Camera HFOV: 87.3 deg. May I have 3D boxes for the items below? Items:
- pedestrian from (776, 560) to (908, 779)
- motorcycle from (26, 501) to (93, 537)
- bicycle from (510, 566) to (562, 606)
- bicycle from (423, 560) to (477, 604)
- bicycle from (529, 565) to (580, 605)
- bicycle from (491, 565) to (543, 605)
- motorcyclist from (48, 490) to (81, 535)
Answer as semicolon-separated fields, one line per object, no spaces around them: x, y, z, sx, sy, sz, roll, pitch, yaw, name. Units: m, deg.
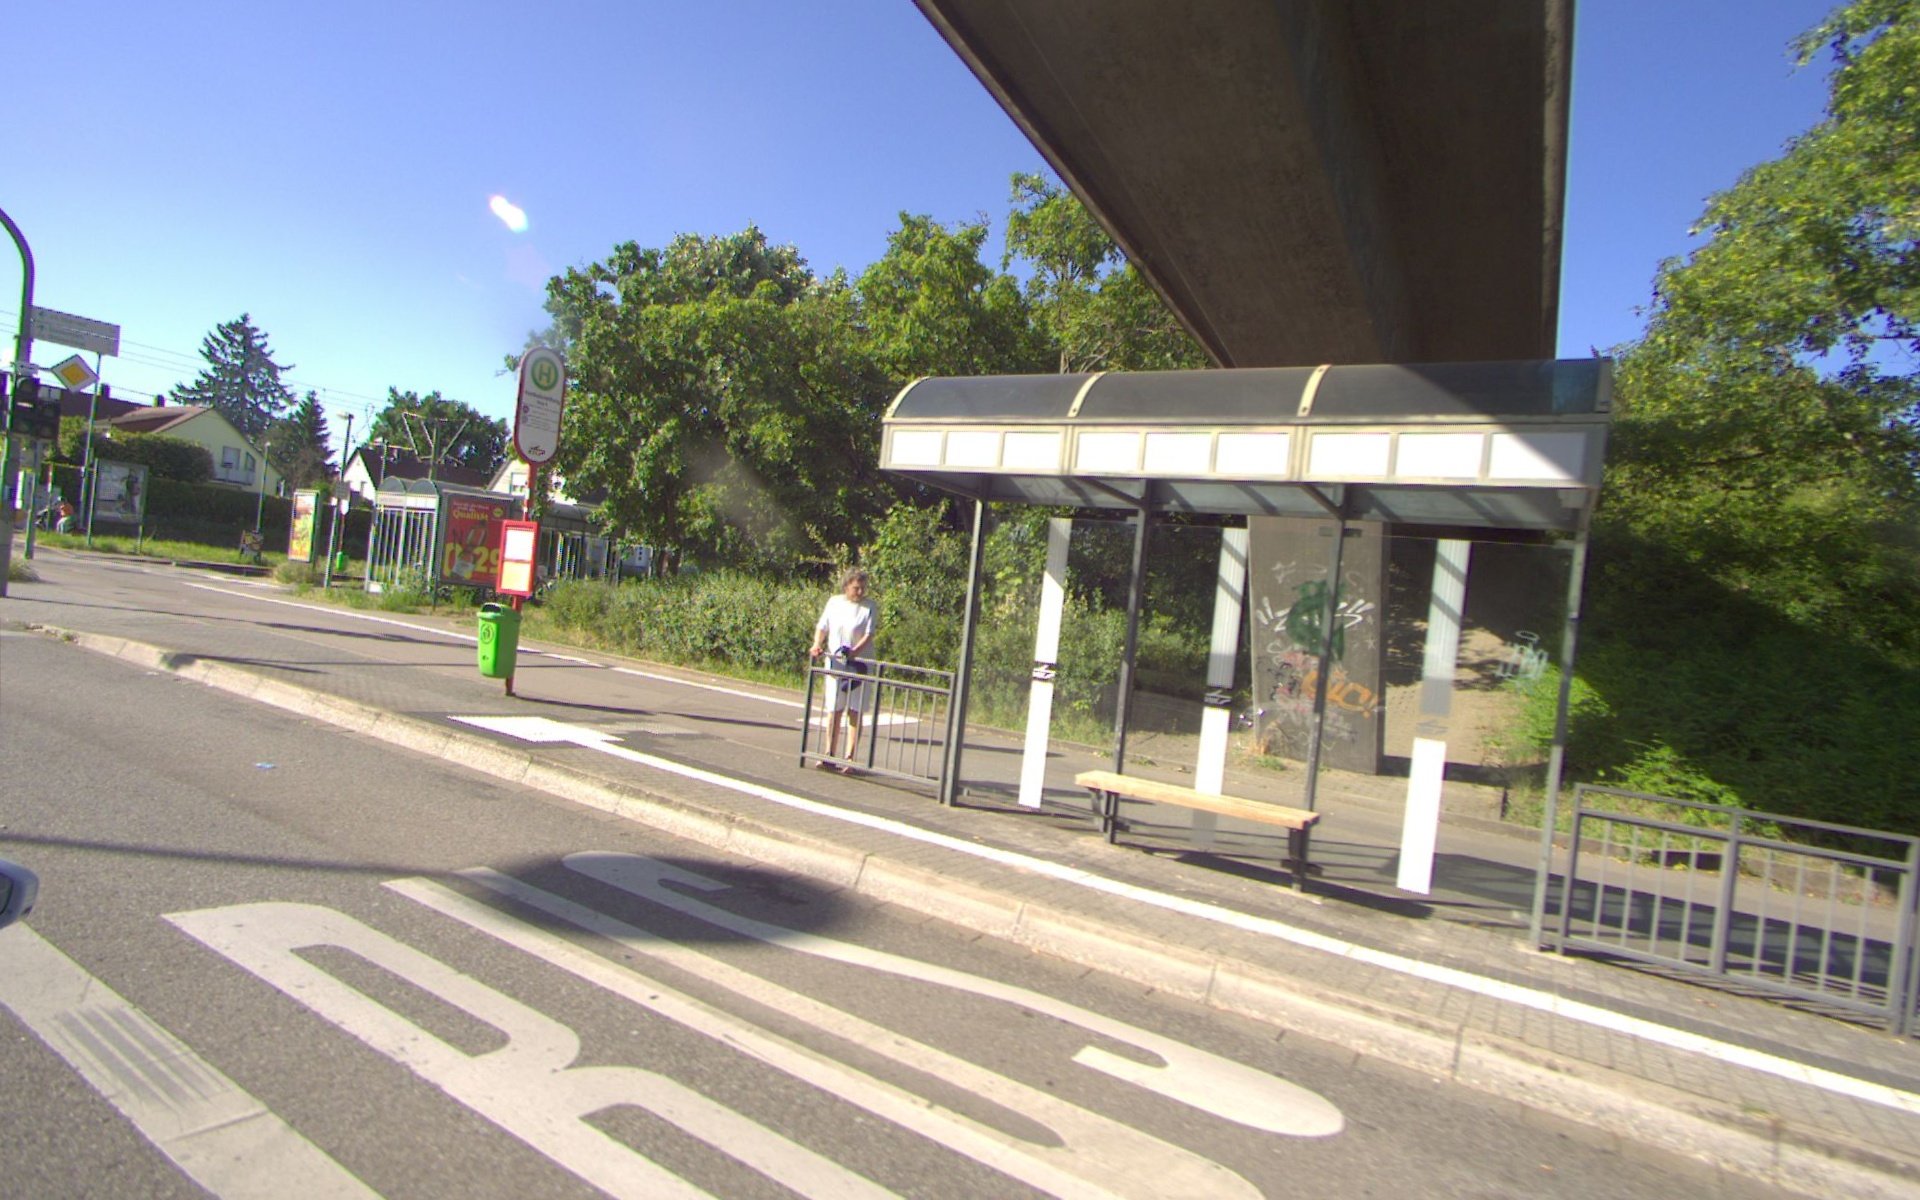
-0.974;0.561;8.366;0.704;1.683;0.588;7;1;29;pedestrian
-33.509;-3.020;37.455;0.445;1.084;1.755;7;1;38;motorcycle
-11.924;-0.387;28.276;1.758;1.081;0.430;1;-1;34;bicycle
-13.231;-0.472;26.078;1.758;1.081;0.430;1;-1;34;bicycle
-11.608;-0.434;28.773;1.758;1.081;0.430;1;-1;34;bicycle
-12.256;-0.420;27.823;1.758;1.081;0.430;1;-1;34;bicycle
-33.415;-3.257;37.536;0.689;1.577;0.692;7;2;38;motorcyclist
